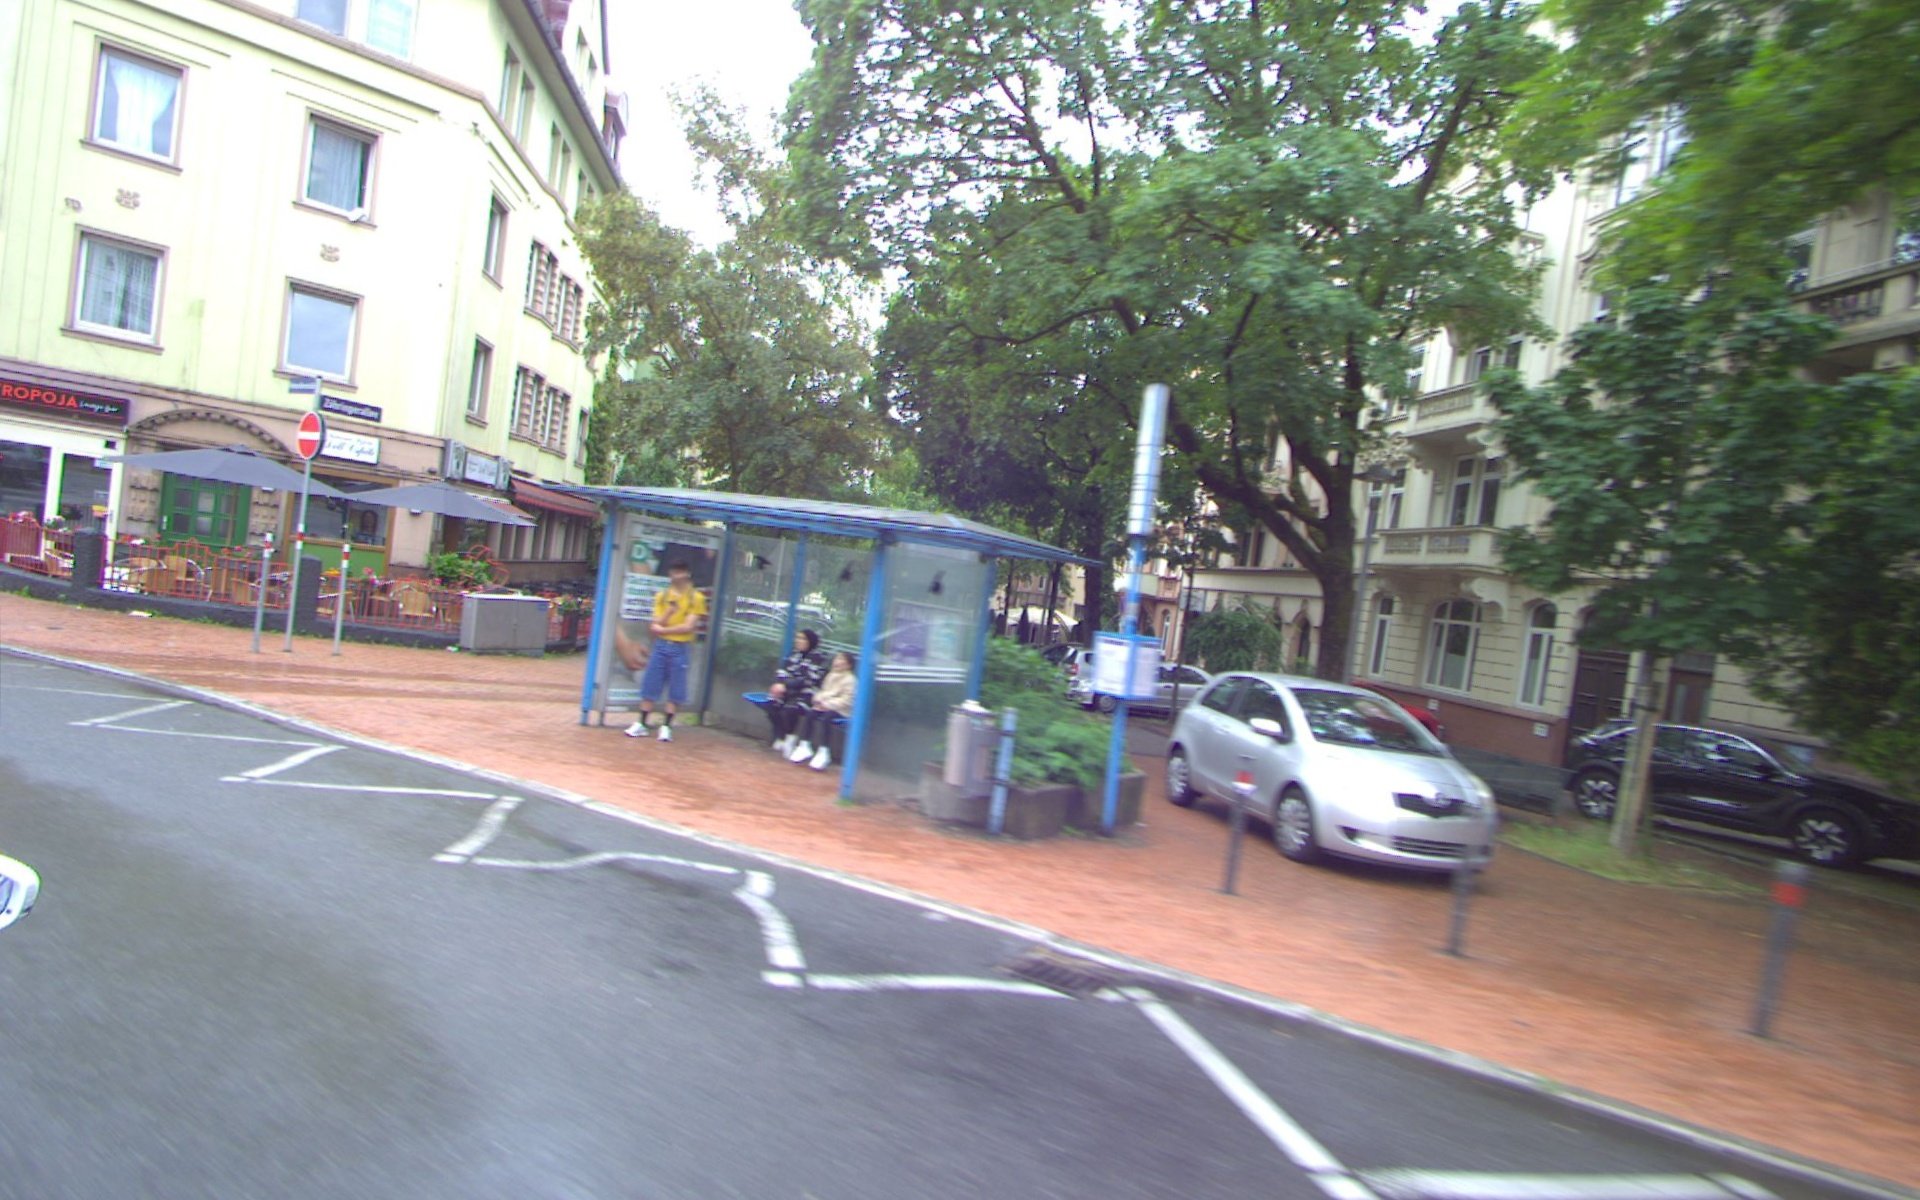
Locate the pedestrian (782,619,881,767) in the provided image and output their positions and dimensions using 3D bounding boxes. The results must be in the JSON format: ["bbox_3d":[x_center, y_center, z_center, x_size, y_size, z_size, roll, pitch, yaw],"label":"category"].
[{"bbox_3d":[-1.200,0.869,9.430,0.527,1.295,0.569,7,-1,41],"label":"pedestrian"}]

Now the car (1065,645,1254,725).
[{"bbox_3d":[5.011,2.127,25.464,4.262,1.412,1.706,8,-1,-9],"label":"car"}]

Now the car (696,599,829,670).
[{"bbox_3d":[-6.343,1.111,32.538,3.933,1.747,1.790,8,-1,-9],"label":"car"}]

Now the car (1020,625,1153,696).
[{"bbox_3d":[3.942,1.890,31.766,3.719,1.686,1.678,8,-1,-6],"label":"car"}]

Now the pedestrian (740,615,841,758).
[{"bbox_3d":[-1.655,0.844,9.828,0.610,1.295,0.568,7,-1,43],"label":"pedestrian"}]

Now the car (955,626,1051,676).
[{"bbox_3d":[1.753,2.109,41.621,3.590,1.554,1.679,8,-1,-9],"label":"car"}]

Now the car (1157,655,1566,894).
[{"bbox_3d":[3.442,1.442,9.457,1.742,1.518,3.671,9,-3,-10],"label":"car"}]

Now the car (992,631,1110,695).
[{"bbox_3d":[3.081,2.143,34.511,3.590,1.686,1.588,8,-1,-9],"label":"car"}]

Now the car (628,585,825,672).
[{"bbox_3d":[-5.817,0.733,25.517,4.570,1.546,1.790,8,-1,-9],"label":"car"}]

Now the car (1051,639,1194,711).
[{"bbox_3d":[4.439,2.060,27.754,3.442,1.482,1.588,8,-1,-9],"label":"car"}]

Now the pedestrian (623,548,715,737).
[{"bbox_3d":[-2.902,0.413,10.021,0.554,1.796,0.541,7,-1,-32],"label":"pedestrian"}]

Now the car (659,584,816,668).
[{"bbox_3d":[-6.076,0.714,27.805,3.933,1.747,1.790,8,-1,-9],"label":"car"}]

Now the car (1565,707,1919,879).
[{"bbox_3d":[10.812,2.525,13.808,1.758,1.493,3.811,8,-2,-38],"label":"car"}]

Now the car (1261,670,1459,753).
[{"bbox_3d":[9.509,2.638,24.062,3.930,1.547,1.874,5,-1,-9],"label":"car"}]

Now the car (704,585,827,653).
[{"bbox_3d":[-6.739,0.665,35.192,3.933,1.810,1.790,8,-1,-9],"label":"car"}]
